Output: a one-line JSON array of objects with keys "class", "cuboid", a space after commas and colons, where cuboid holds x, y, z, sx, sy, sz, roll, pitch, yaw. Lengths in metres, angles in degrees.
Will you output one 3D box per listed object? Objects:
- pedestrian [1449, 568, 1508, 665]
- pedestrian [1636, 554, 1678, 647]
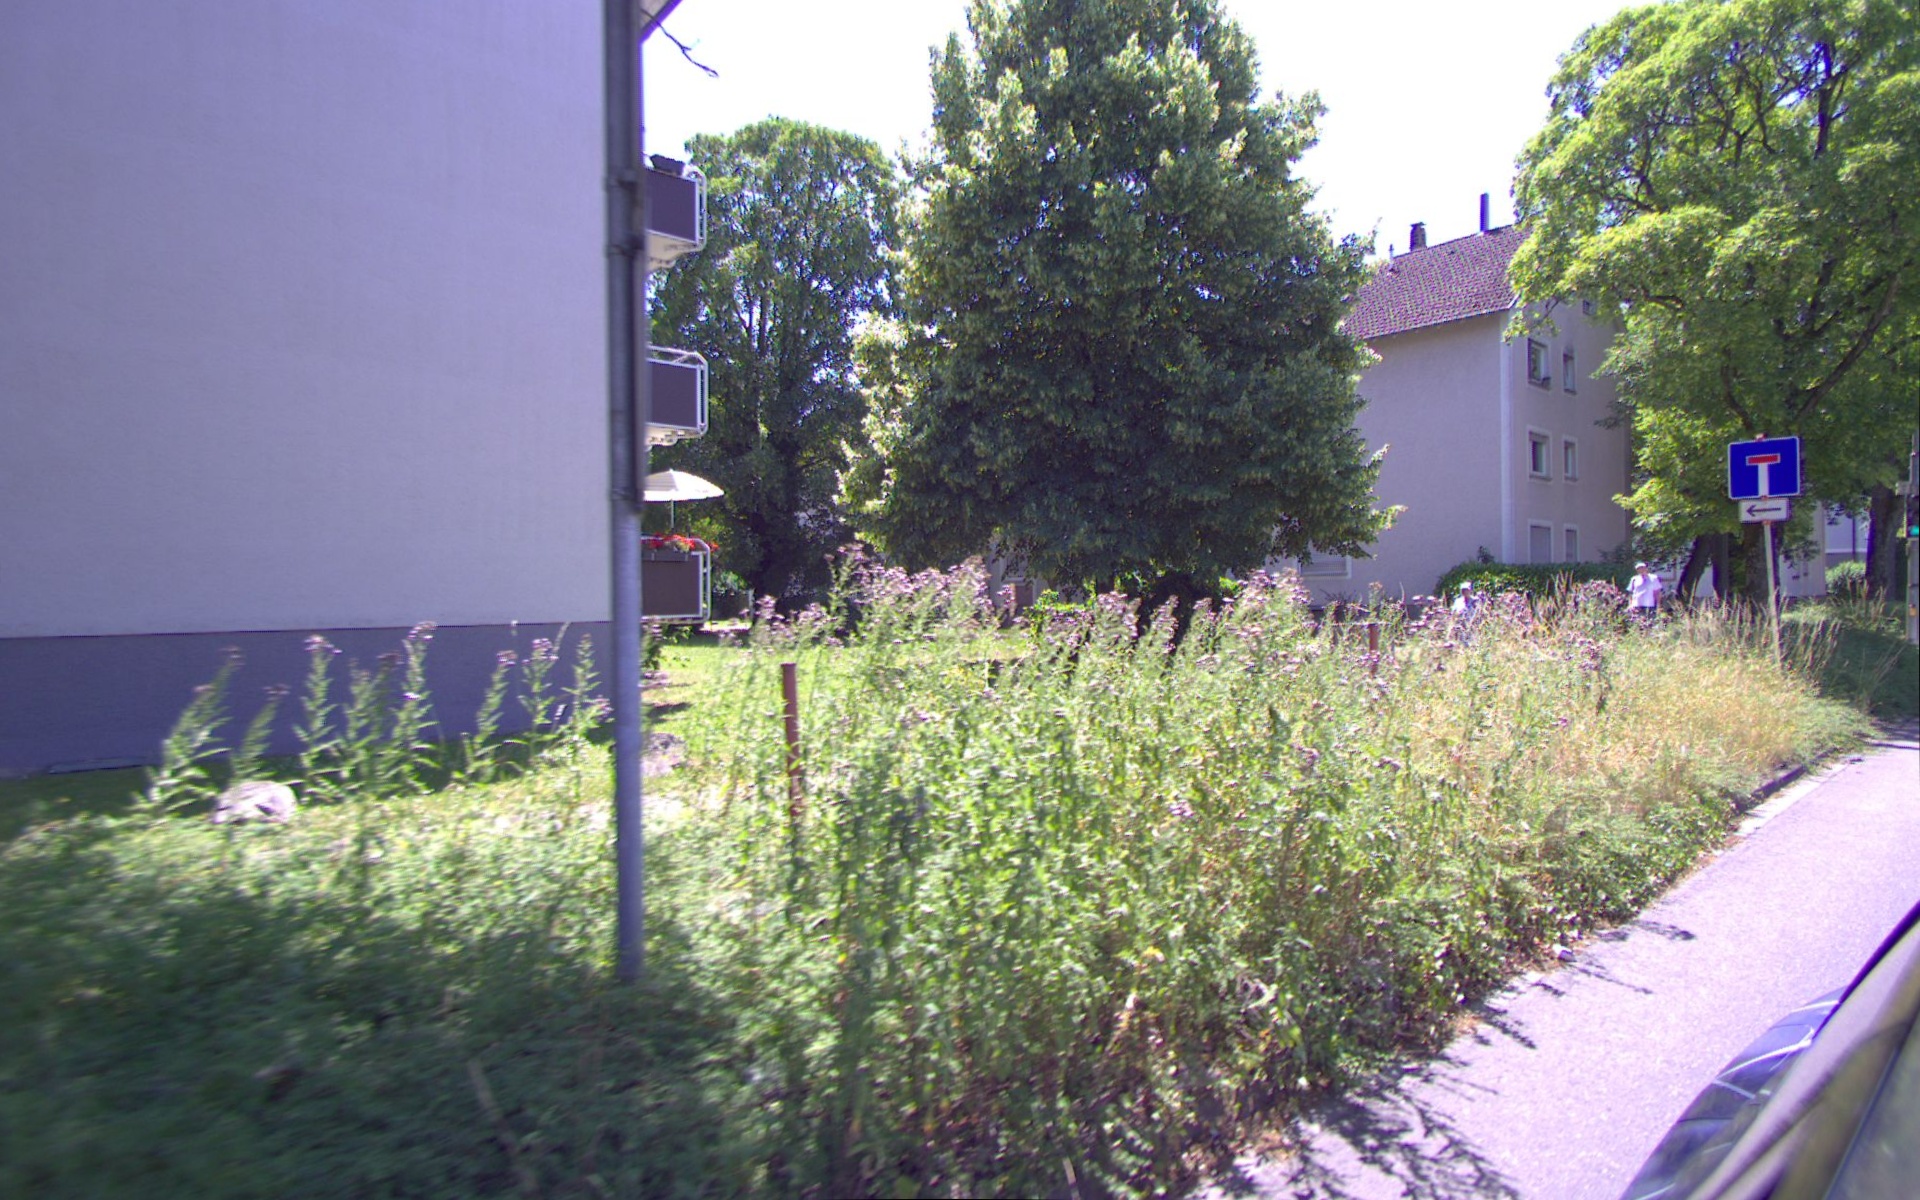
[{"class": "pedestrian", "cuboid": [9.118, 0.277, 17.791, 0.718, 1.654, 0.838, 0, 1, 43]}, {"class": "pedestrian", "cuboid": [14.563, -0.001, 21.165, 0.669, 1.897, 0.893, 0, 1, 31]}]
